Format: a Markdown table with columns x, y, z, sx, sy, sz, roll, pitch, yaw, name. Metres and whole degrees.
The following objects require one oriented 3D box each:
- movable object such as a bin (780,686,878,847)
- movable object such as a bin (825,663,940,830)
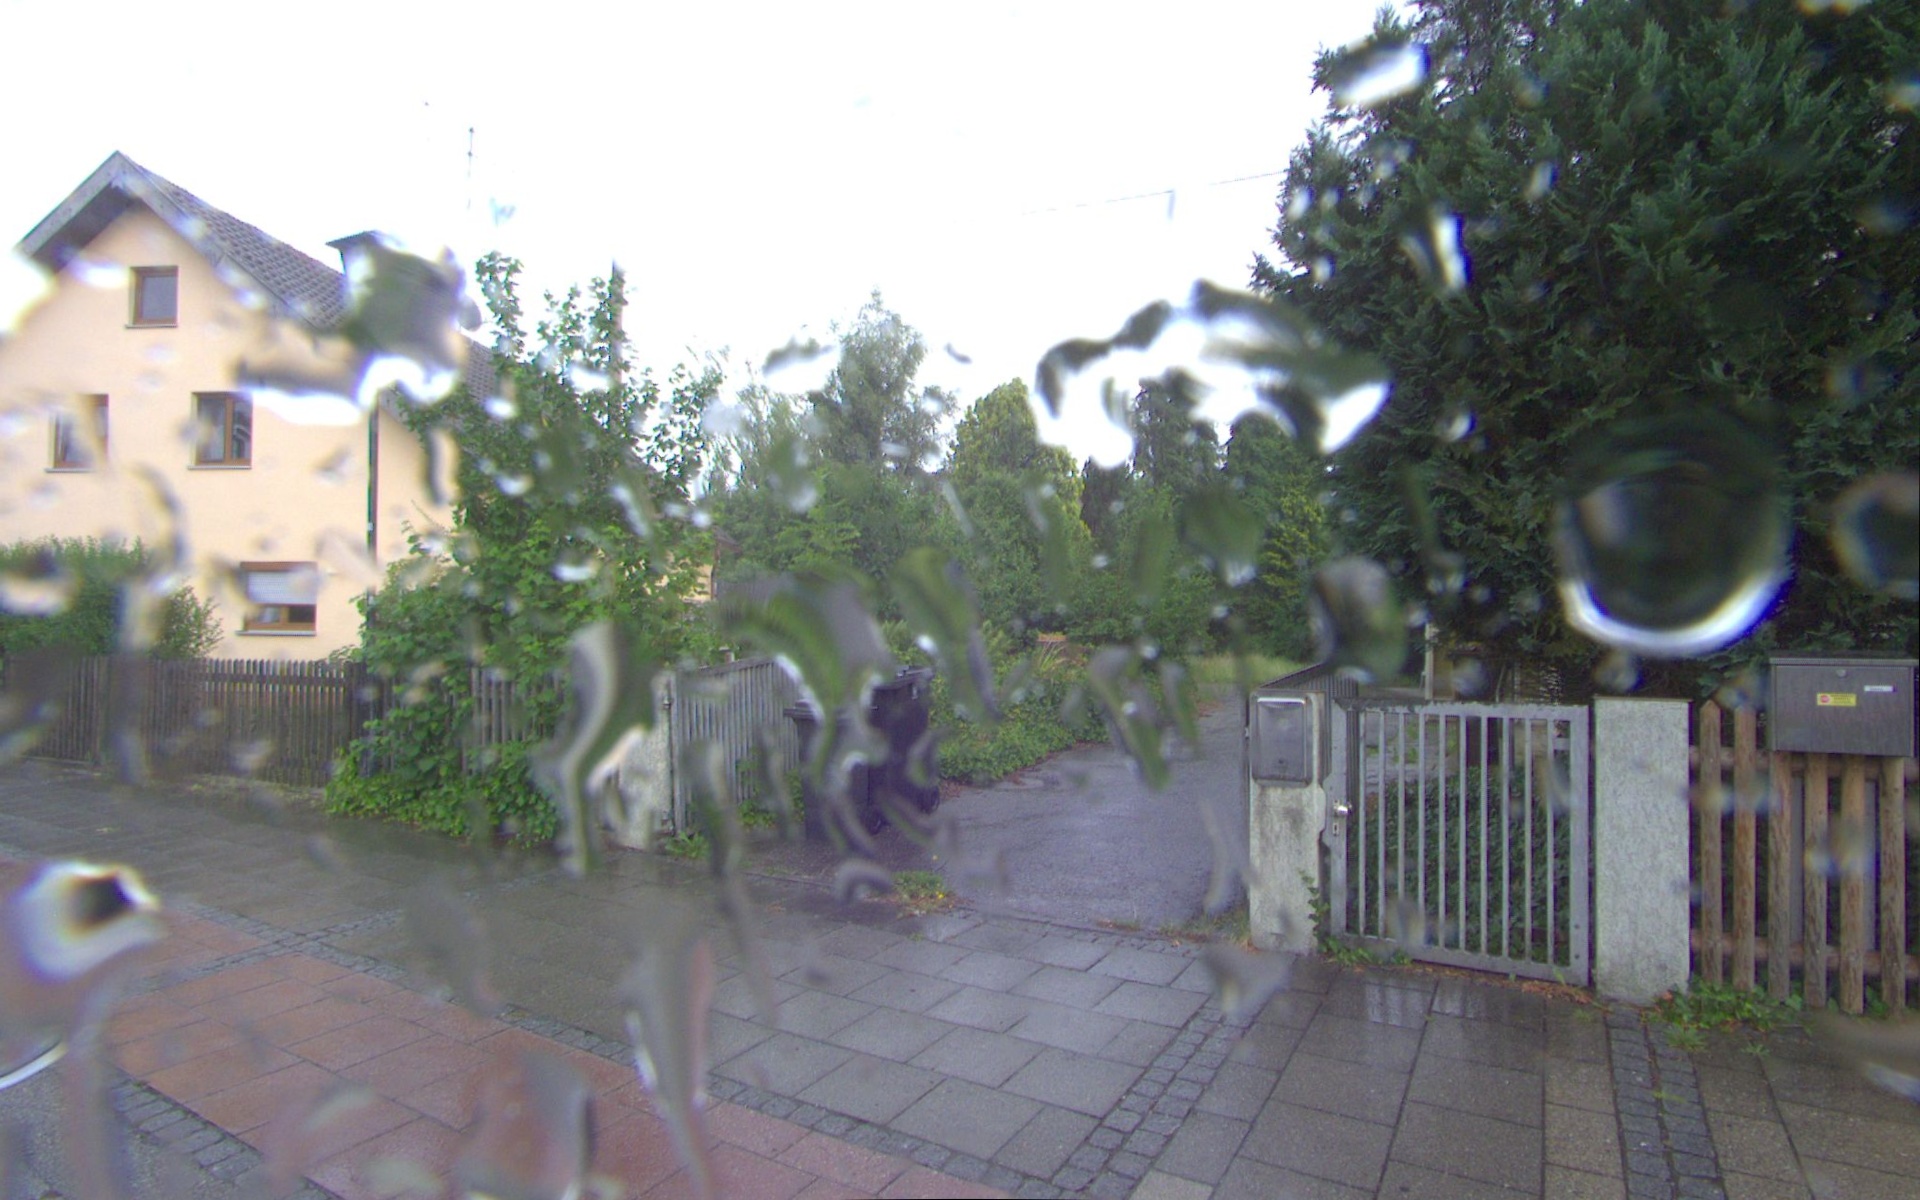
| x | y | z | sx | sy | sz | roll | pitch | yaw | name |
| --- | --- | --- | --- | --- | --- | --- | --- | --- | --- |
| -0.847 | 1.054 | 6.495 | 0.440 | 0.948 | 0.432 | -1 | 1 | 33 | movable object such as a bin |
| -0.536 | 0.990 | 6.999 | 0.545 | 1.054 | 0.574 | -1 | 1 | 33 | movable object such as a bin |
